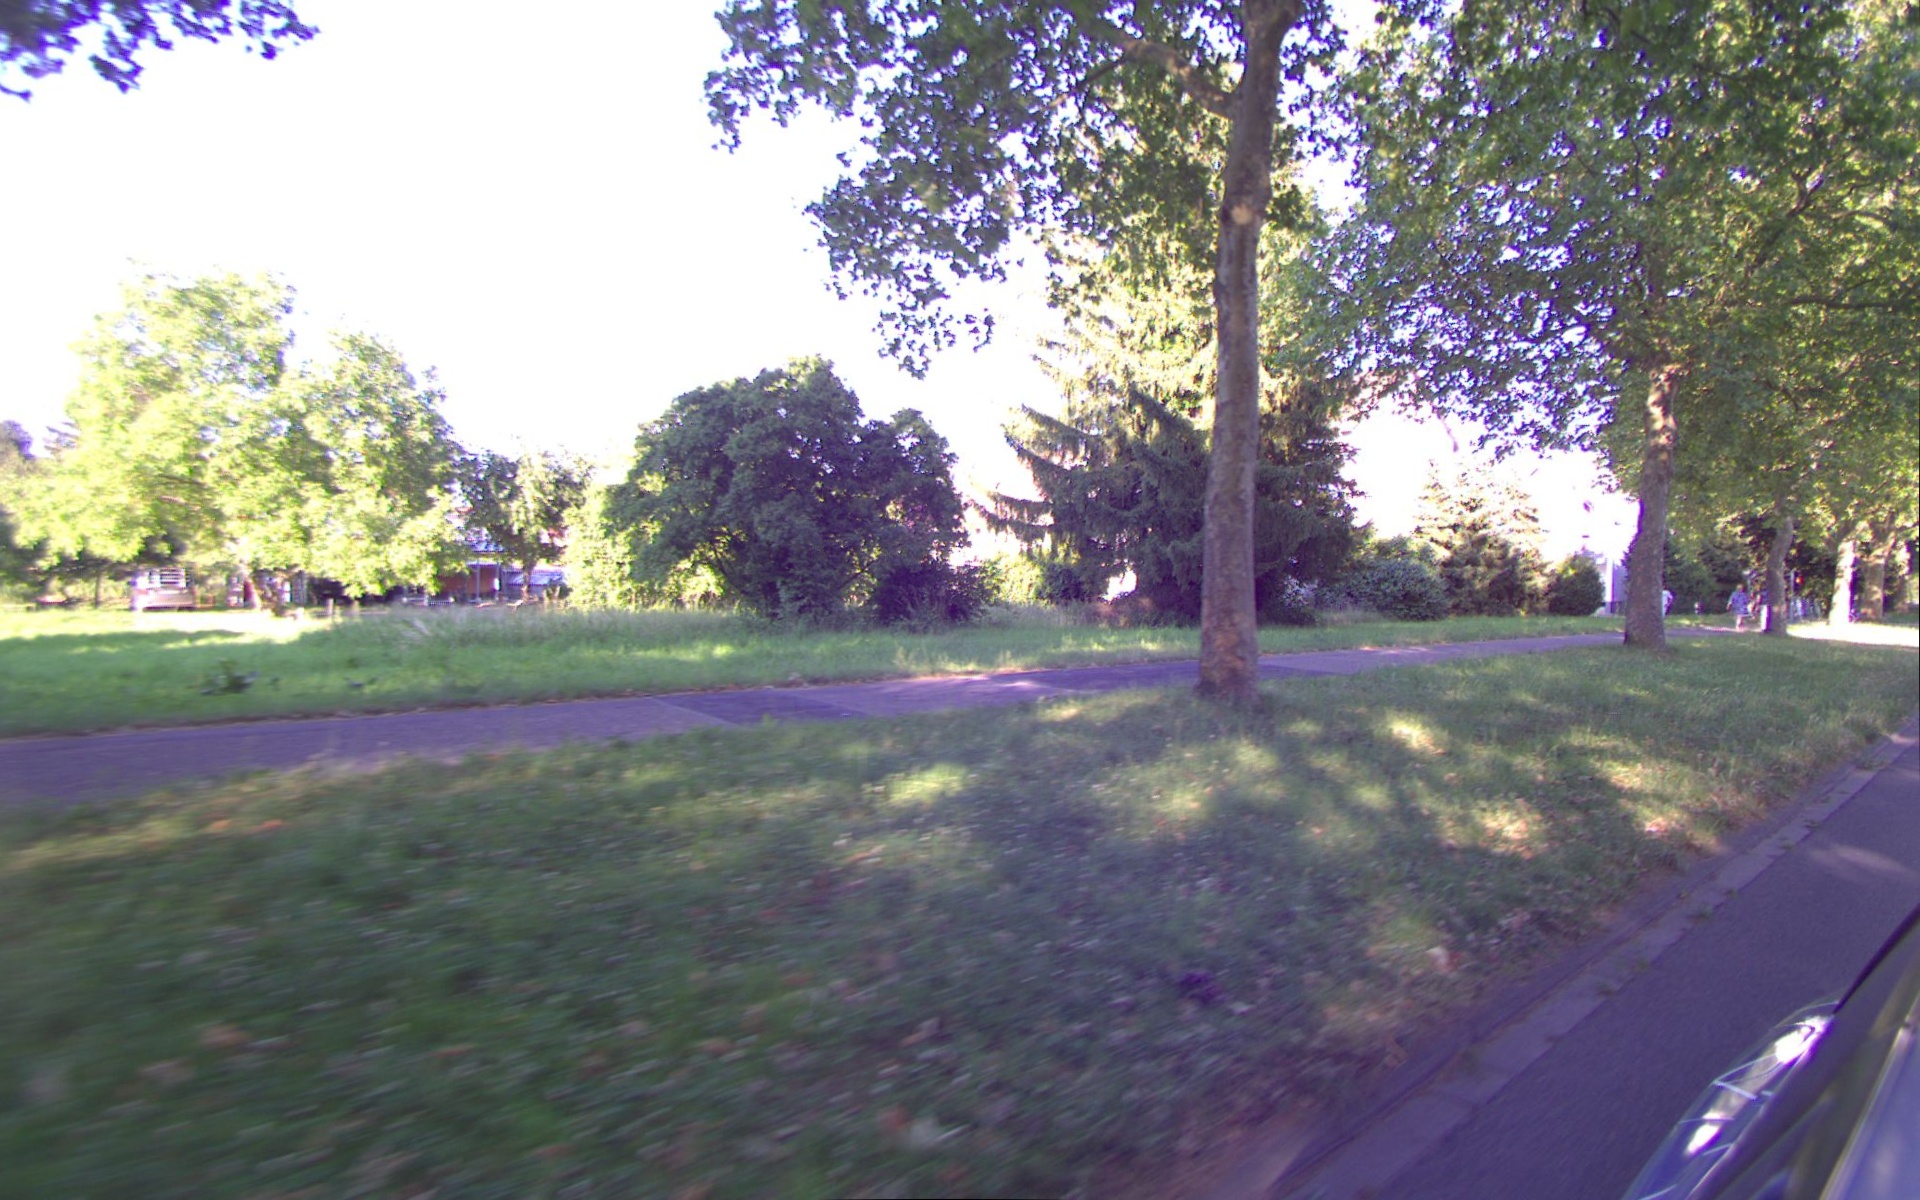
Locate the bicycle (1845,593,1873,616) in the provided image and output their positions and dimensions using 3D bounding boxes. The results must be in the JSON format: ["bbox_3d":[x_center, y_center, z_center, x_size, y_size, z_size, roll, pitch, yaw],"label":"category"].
[{"bbox_3d":[44.890,0.240,50.549,0.442,1.096,1.990,3,1,25],"label":"bicycle"}]

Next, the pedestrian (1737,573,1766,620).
[{"bbox_3d":[31.861,-0.153,40.756,0.788,1.870,0.756,0,1,-40],"label":"pedestrian"}]

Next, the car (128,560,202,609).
[{"bbox_3d":[-34.169,-0.656,43.598,1.896,1.972,4.004,-2,1,-30],"label":"car"}]

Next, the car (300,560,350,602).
[{"bbox_3d":[-32.316,-0.979,51.617,1.960,2.039,4.004,-2,1,-30],"label":"car"}]

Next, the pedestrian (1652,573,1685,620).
[{"bbox_3d":[25.696,-0.119,36.716,0.923,1.670,0.780,0,1,-44],"label":"pedestrian"}]

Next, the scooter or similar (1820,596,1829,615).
[{"bbox_3d":[56.517,0.372,66.166,0.382,1.211,1.235,0,-1,43],"label":"scooter or similar"}]

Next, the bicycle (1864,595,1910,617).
[{"bbox_3d":[46.299,0.282,50.564,0.437,1.048,1.723,3,1,-9],"label":"bicycle"}]

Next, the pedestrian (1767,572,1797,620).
[{"bbox_3d":[32.386,-0.160,39.850,0.773,1.869,0.763,0,1,-40],"label":"pedestrian"}]
